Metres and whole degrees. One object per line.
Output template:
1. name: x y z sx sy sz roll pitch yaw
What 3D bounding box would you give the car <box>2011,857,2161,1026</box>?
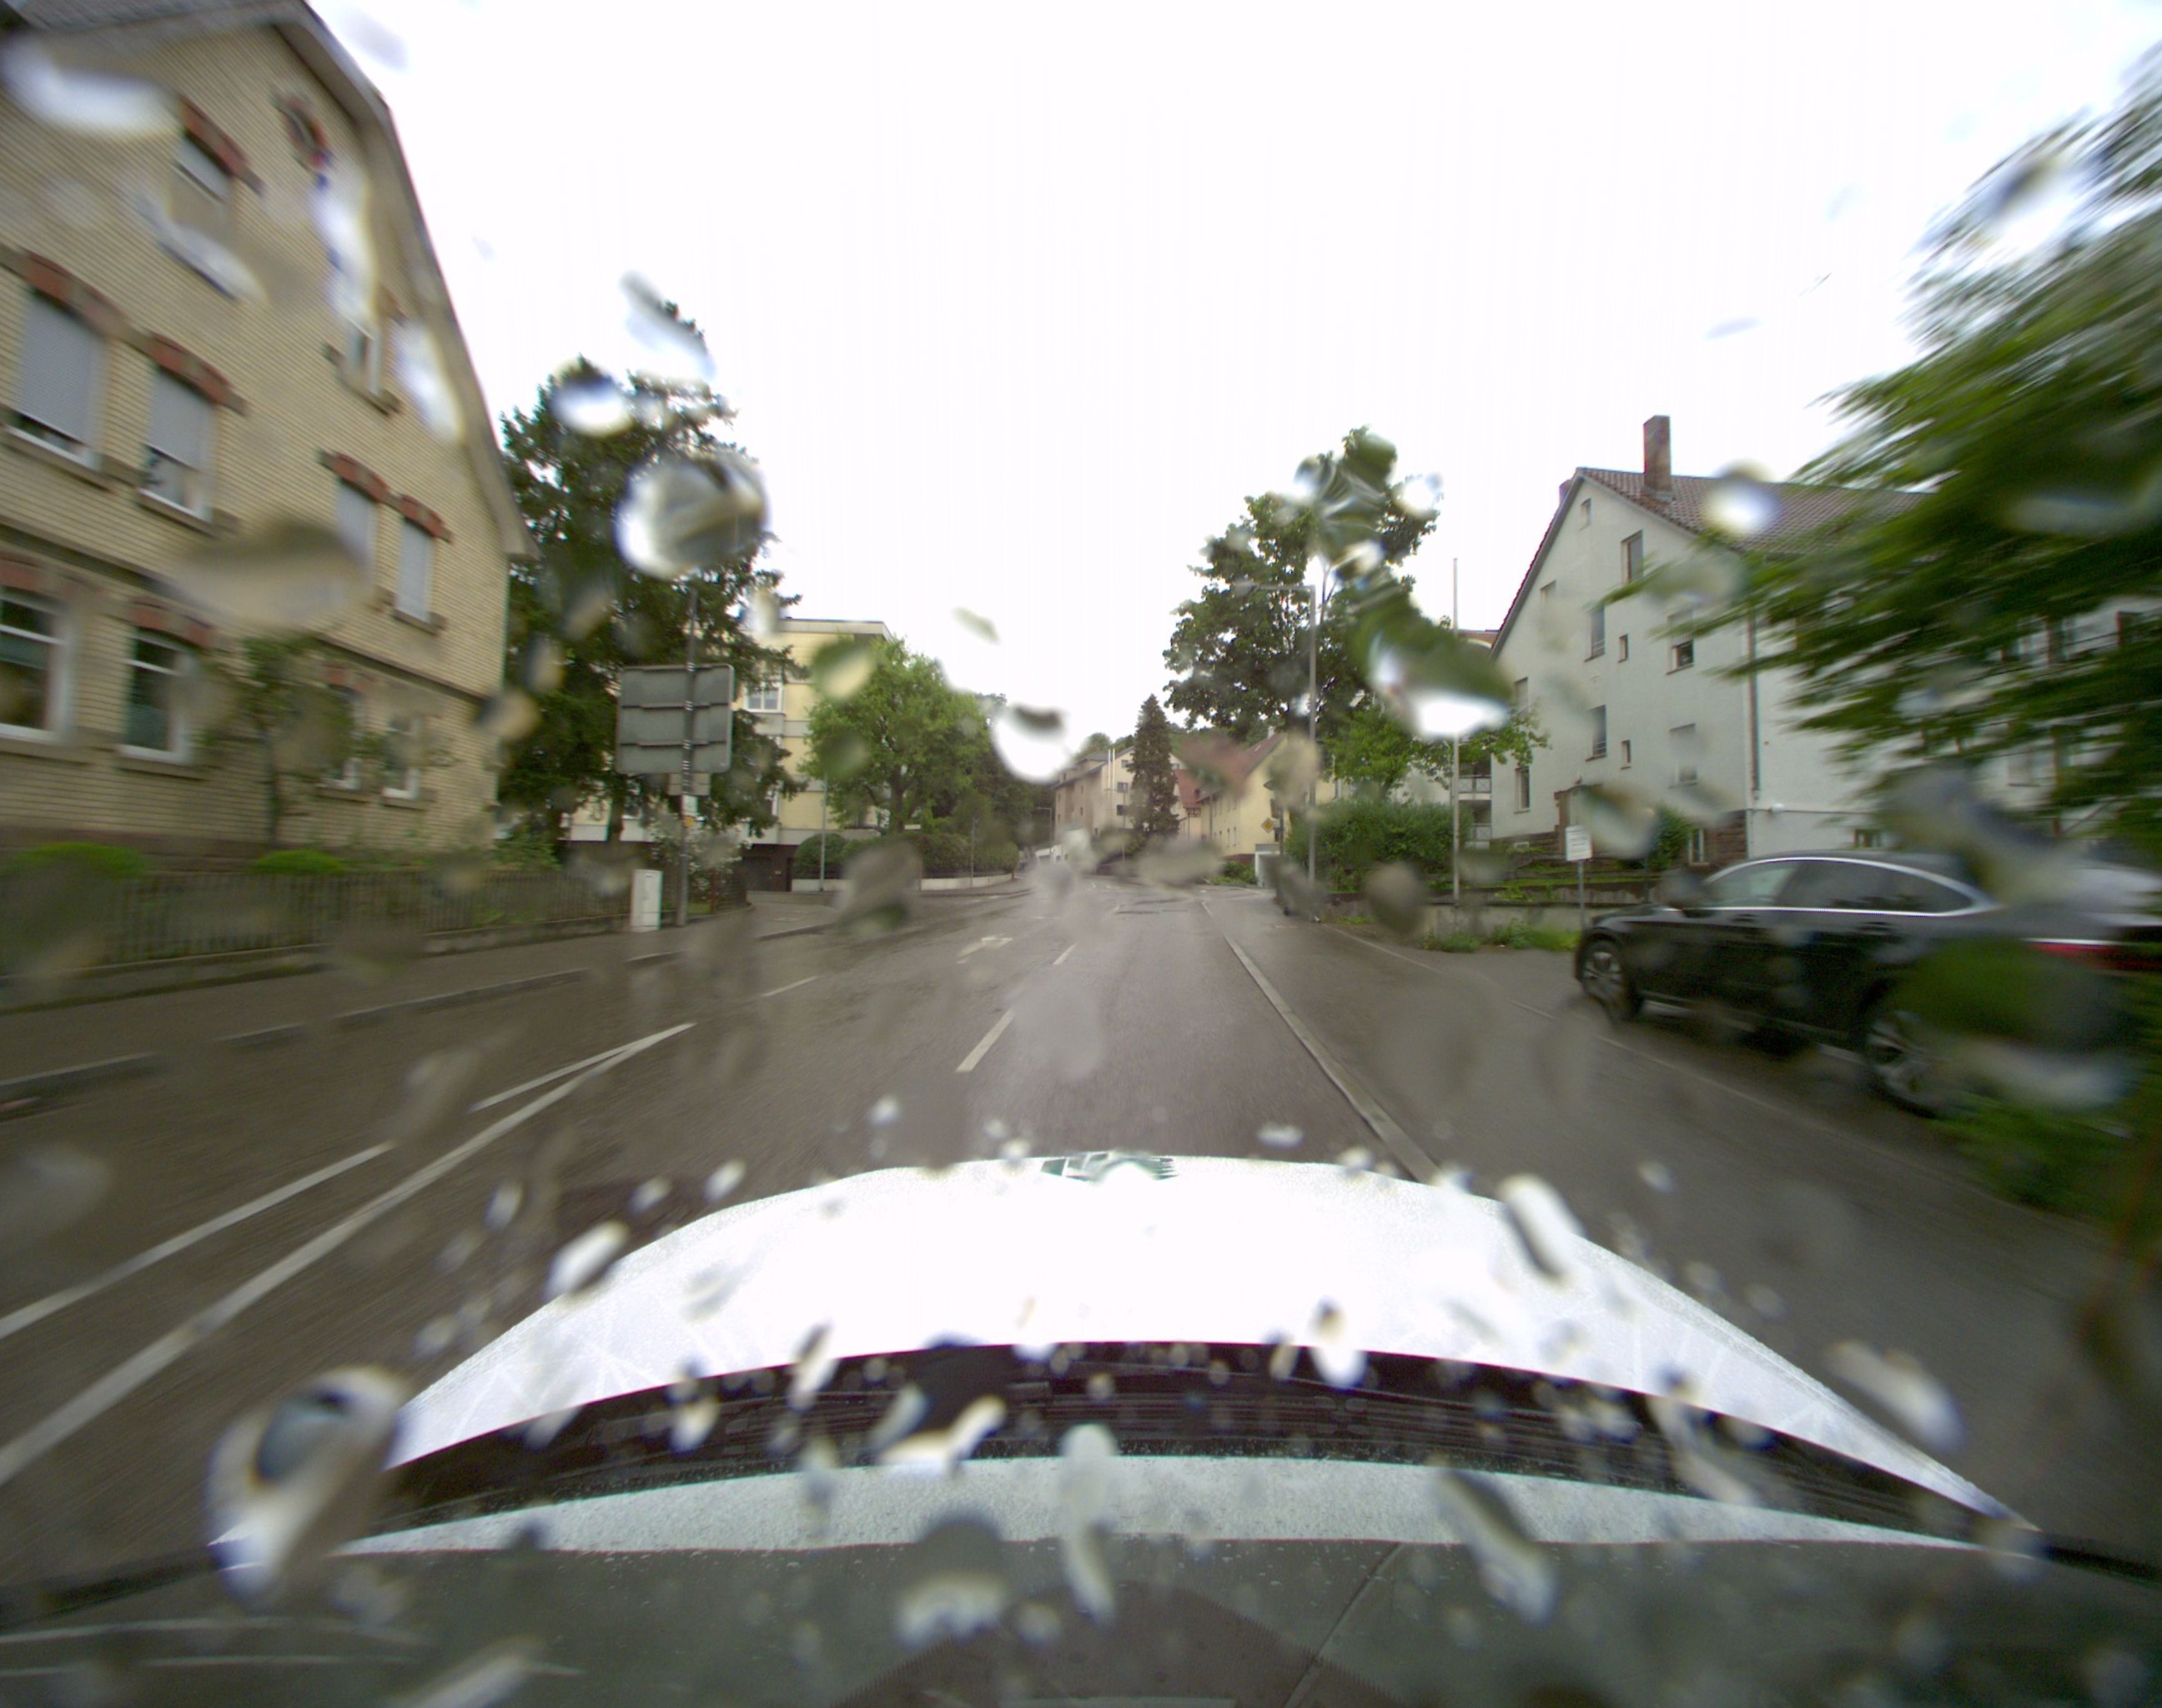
1. car: 10.160 0.748 6.074 1.736 1.435 4.018 0 0 -5

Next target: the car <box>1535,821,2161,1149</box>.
1. car: 5.750 0.675 6.329 1.775 1.570 4.727 3 0 0
